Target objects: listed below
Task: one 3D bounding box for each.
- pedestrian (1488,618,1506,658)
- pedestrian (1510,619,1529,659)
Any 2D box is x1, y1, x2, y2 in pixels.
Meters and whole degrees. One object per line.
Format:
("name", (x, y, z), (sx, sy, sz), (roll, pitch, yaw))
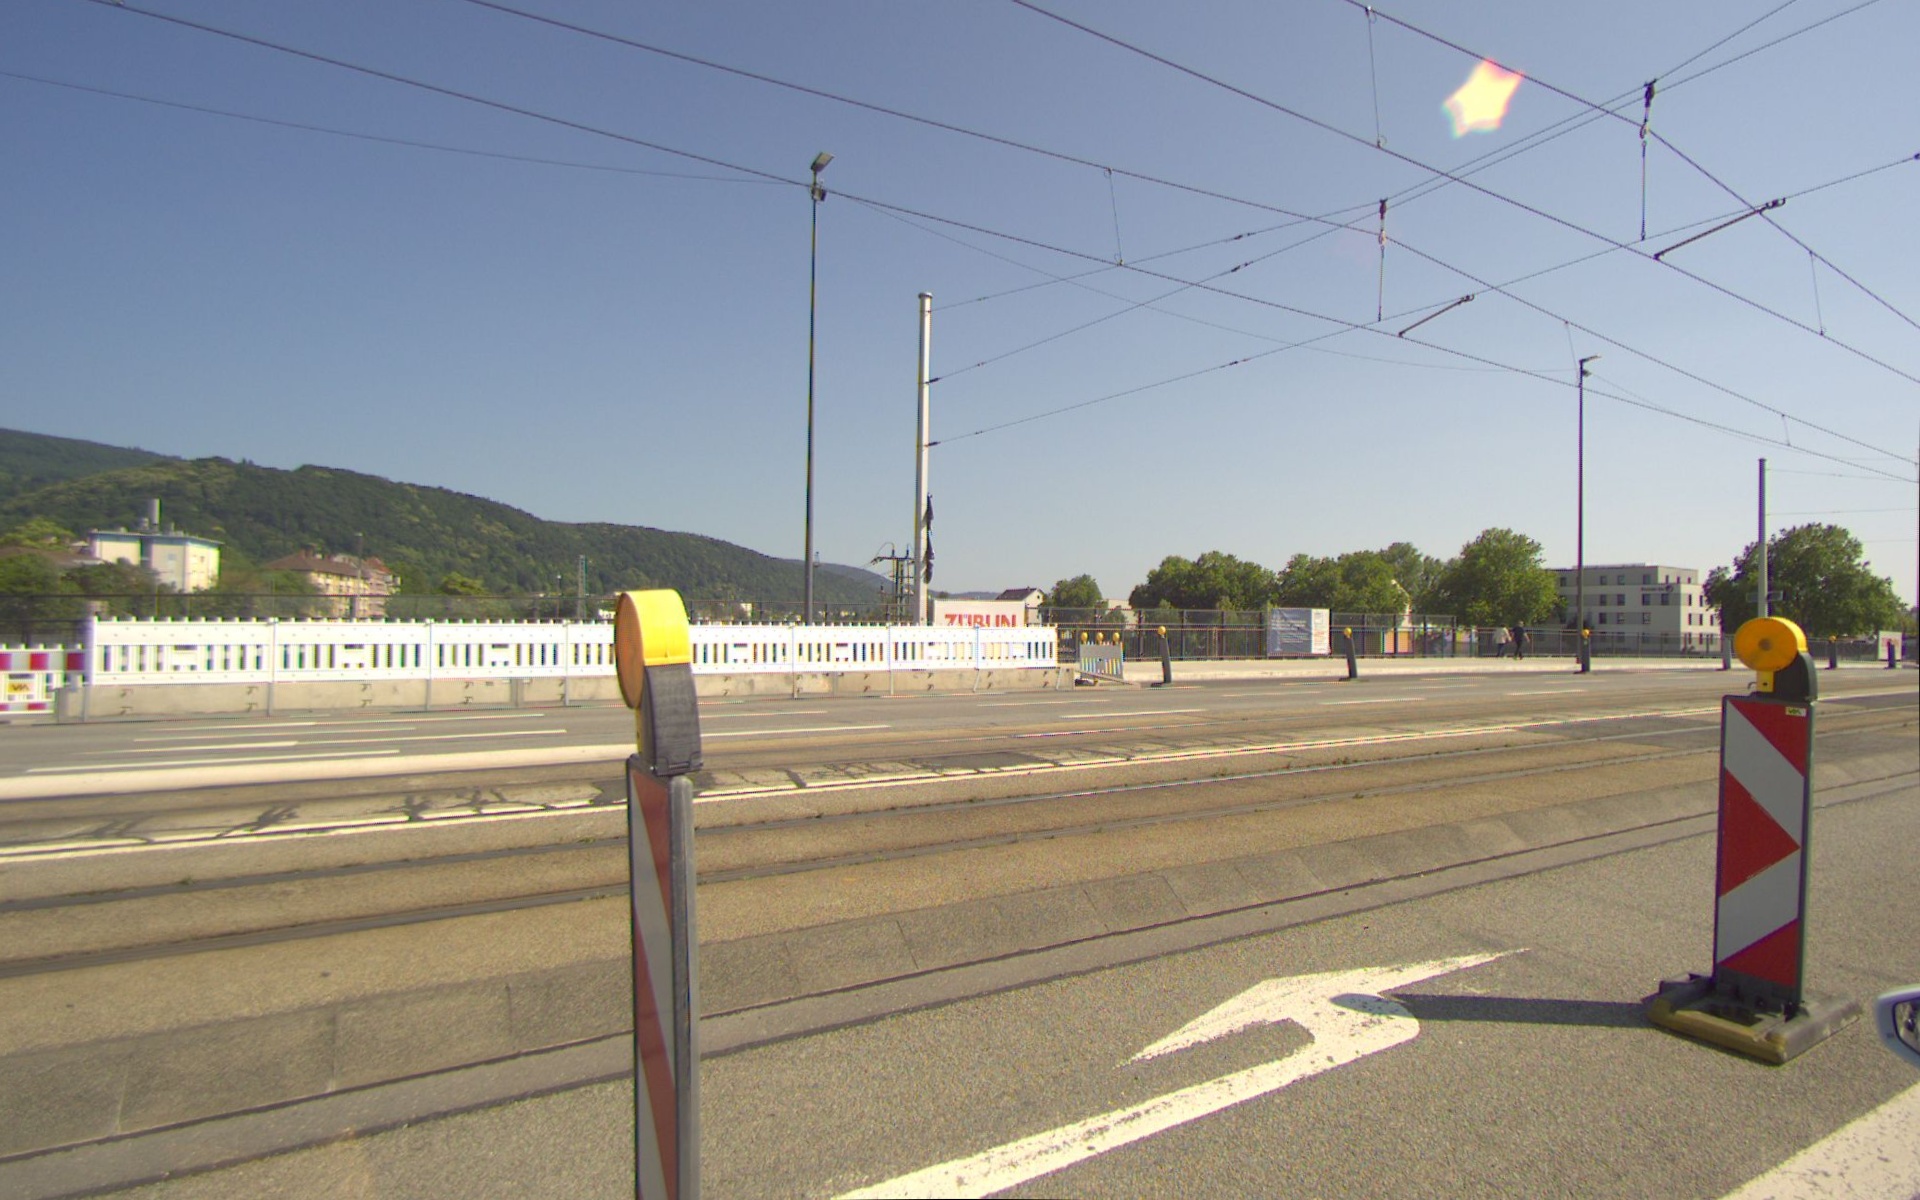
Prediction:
("pedestrian", (23.771, 1.687, 44.495), (0.468, 1.717, 0.493), (2, 0, -30))
("pedestrian", (24.300, 1.681, 43.631), (0.468, 1.717, 0.493), (2, 0, -30))
